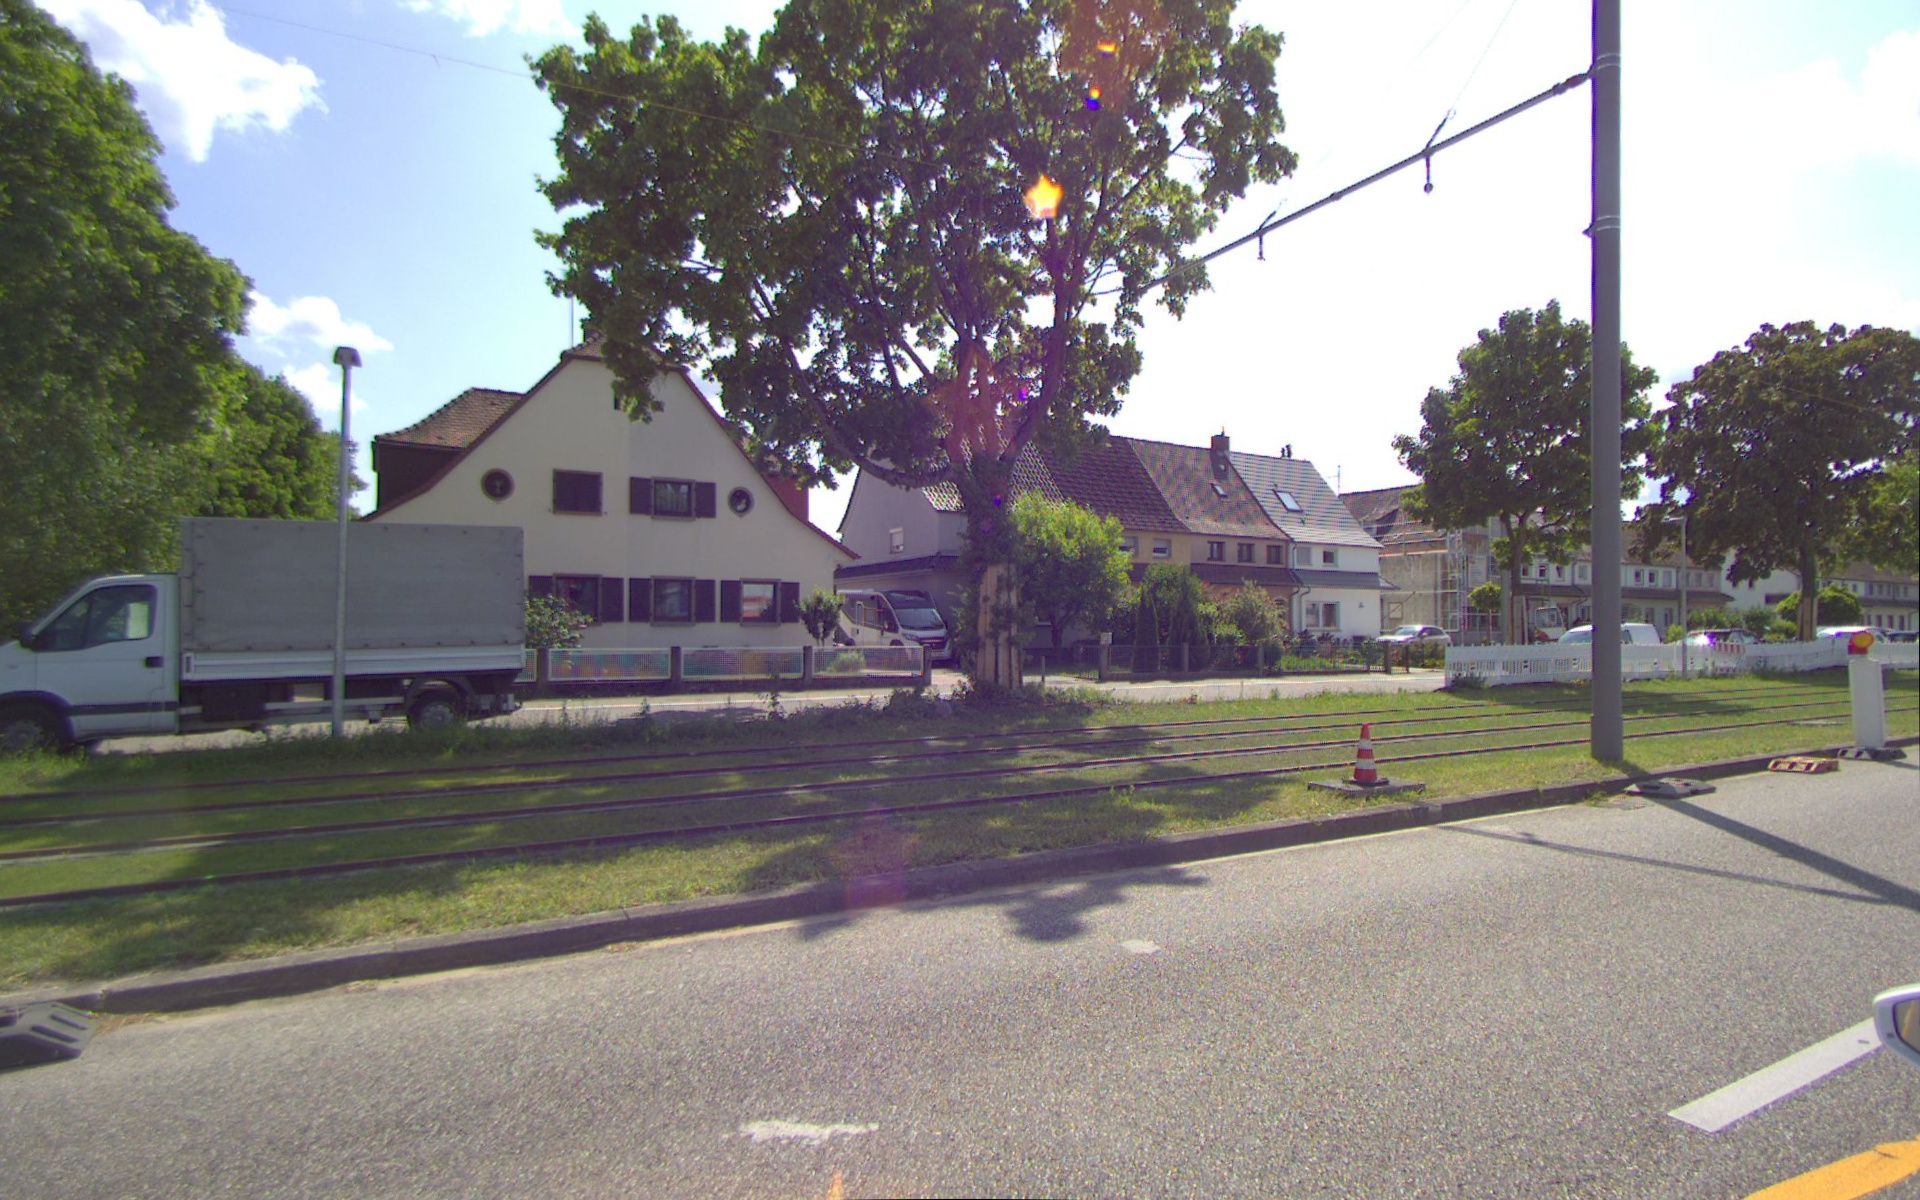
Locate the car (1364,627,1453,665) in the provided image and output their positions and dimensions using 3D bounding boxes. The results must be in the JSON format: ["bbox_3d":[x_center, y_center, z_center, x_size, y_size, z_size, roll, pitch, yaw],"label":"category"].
[{"bbox_3d":[19.884,1.995,44.478,3.814,1.614,1.691,1,-2,-30],"label":"car"}]

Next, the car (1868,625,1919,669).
[{"bbox_3d":[40.384,1.962,42.600,3.814,1.762,1.691,1,-2,-30],"label":"car"}]

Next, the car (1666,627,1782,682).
[{"bbox_3d":[25.741,1.801,33.826,4.006,1.762,1.691,1,-2,-30],"label":"car"}]

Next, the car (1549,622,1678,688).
[{"bbox_3d":[19.496,1.605,29.959,3.814,1.841,1.691,1,-2,-30],"label":"car"}]

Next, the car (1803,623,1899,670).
[{"bbox_3d":[34.965,1.803,39.403,3.814,1.762,1.691,1,-2,-30],"label":"car"}]

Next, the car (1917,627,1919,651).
[{"bbox_3d":[72.129,2.848,73.668,4.013,1.762,1.691,1,-2,-30],"label":"car"}]

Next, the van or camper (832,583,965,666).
[{"bbox_3d":[-2.356,0.910,36.649,2.224,2.745,5.963,1,-2,-33],"label":"van or camper"}]

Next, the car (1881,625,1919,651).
[{"bbox_3d":[66.746,2.684,70.731,4.013,1.762,1.691,1,-2,-30],"label":"car"}]

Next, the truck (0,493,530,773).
[{"bbox_3d":[-8.802,0.414,12.932,5.805,3.027,1.994,1,-2,-30],"label":"truck"}]
